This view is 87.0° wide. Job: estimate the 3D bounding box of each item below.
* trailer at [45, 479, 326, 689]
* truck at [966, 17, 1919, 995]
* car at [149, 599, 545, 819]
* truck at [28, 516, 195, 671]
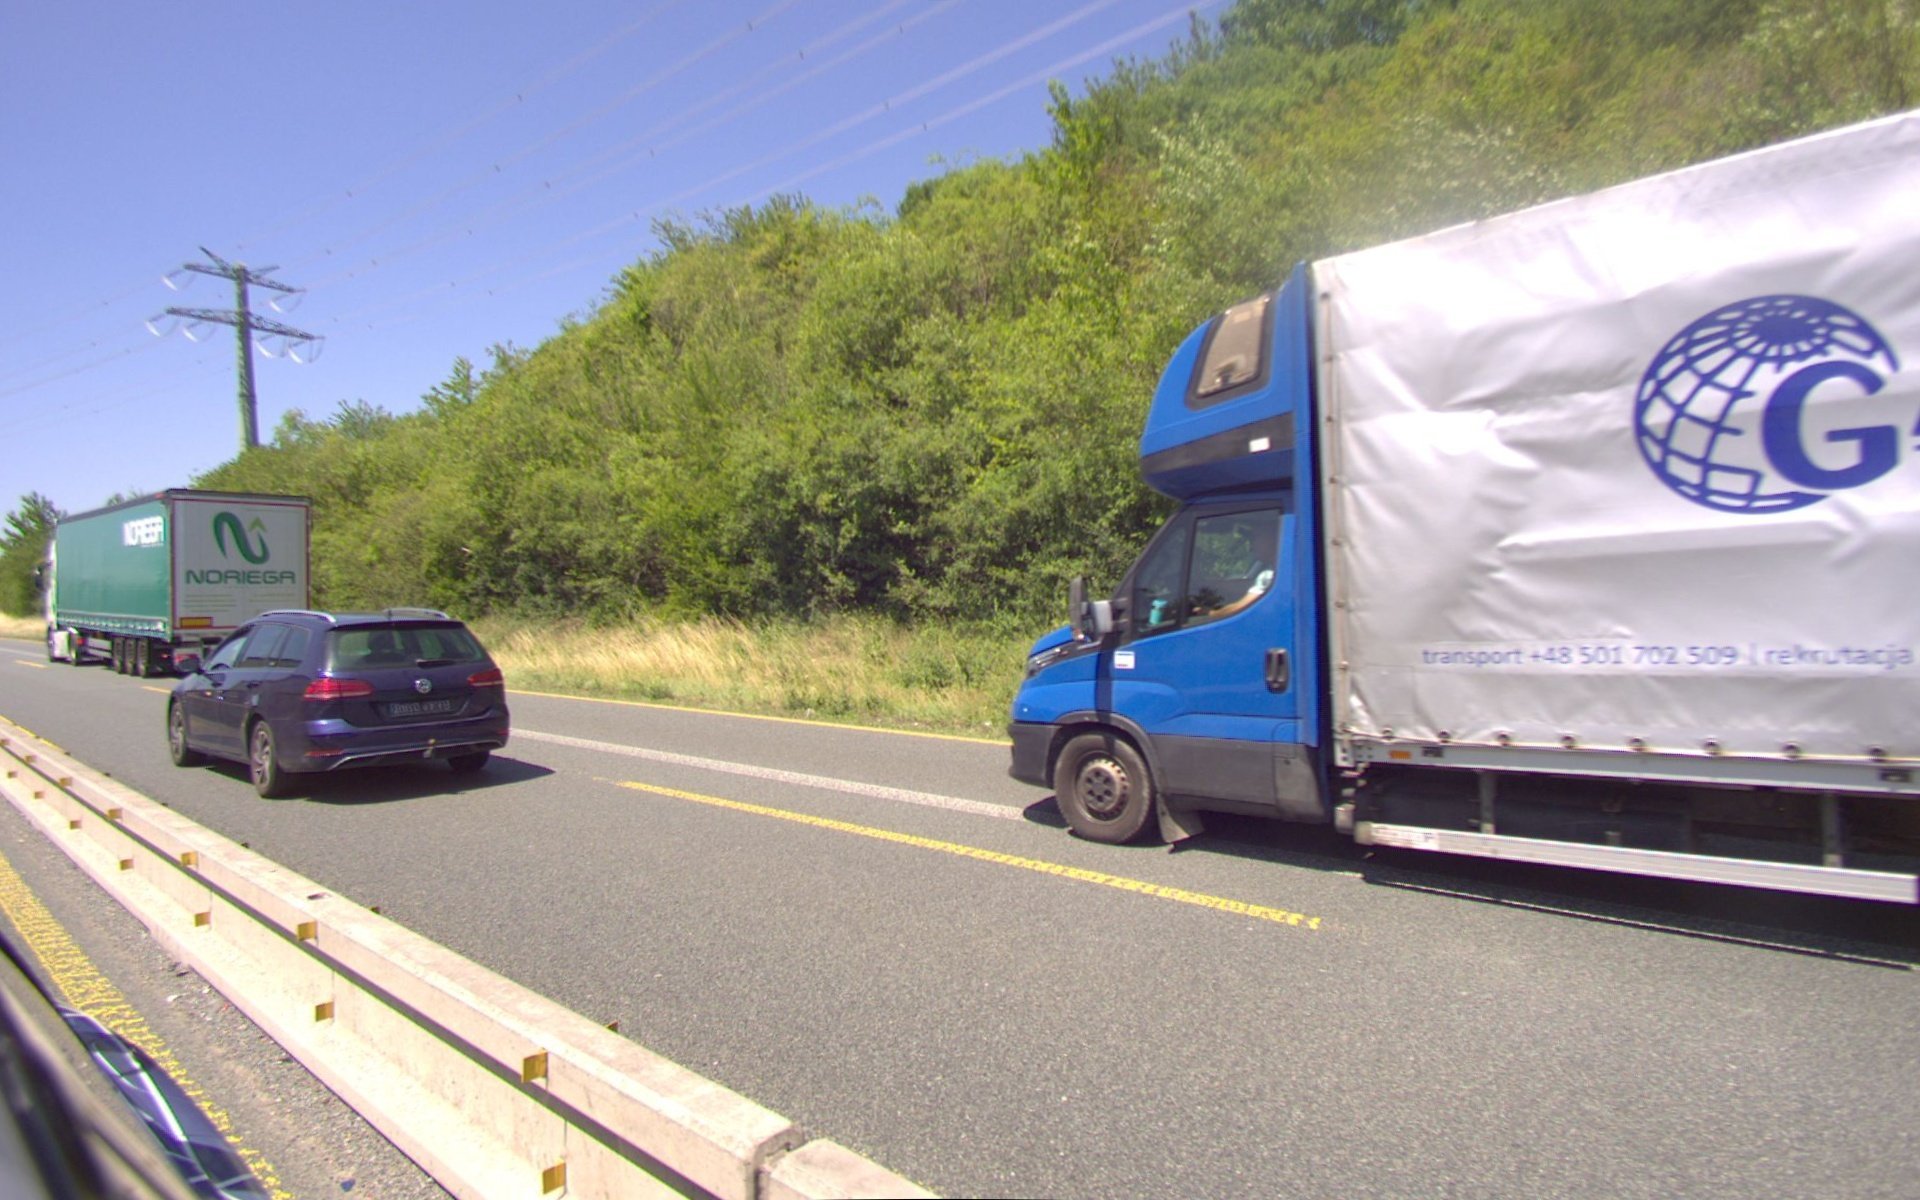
[{"bbox_3d":[-19.926,-0.247,25.463,13.234,4.156,2.862,-1,0,41],"label":"trailer"},{"bbox_3d":[3.654,-0.324,4.748,7.496,3.355,2.380,-2,0,41],"label":"truck"},{"bbox_3d":[-5.659,0.767,9.097,4.398,1.501,1.743,0,0,40],"label":"car"},{"bbox_3d":[-25.344,-0.147,30.141,6.016,4.149,2.865,-1,-1,40],"label":"truck"}]
